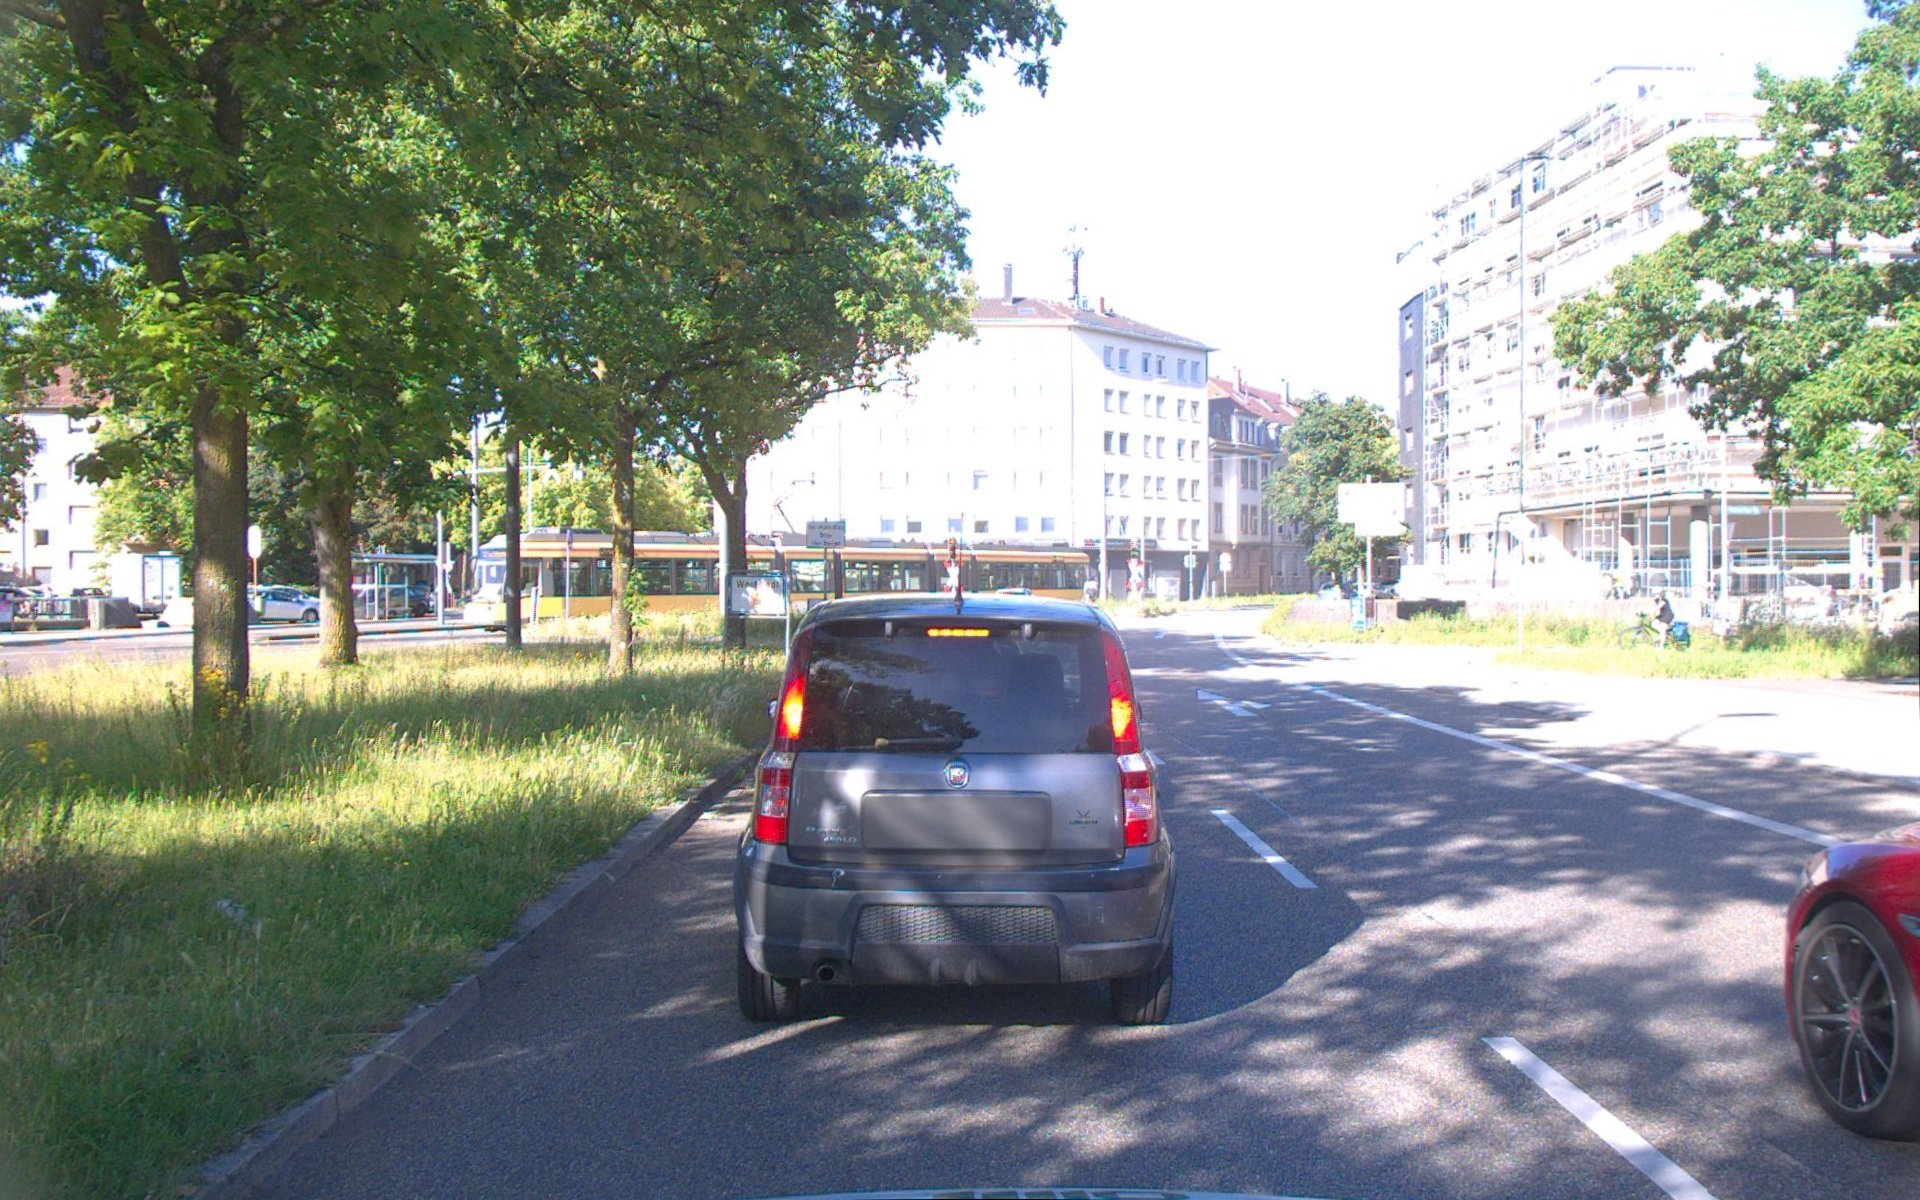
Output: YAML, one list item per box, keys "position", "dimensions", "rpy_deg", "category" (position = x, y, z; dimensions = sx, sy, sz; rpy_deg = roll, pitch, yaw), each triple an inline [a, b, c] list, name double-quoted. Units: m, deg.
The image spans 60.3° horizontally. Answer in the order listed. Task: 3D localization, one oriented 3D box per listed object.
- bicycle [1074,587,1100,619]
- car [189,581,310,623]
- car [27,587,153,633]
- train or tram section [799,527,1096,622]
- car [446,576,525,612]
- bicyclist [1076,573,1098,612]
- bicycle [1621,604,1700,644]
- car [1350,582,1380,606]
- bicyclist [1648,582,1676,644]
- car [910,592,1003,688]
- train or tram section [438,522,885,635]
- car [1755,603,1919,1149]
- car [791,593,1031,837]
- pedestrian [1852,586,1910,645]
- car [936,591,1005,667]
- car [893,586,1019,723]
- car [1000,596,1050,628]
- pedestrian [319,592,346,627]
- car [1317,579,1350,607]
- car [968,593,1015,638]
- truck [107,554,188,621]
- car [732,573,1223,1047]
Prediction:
- position: [4.905, 0.127, 63.944]
  dimensions: [0.694, 1.219, 2.519]
  rpy_deg: [1, 0, -2]
  category: "bicycle"
- position: [-29.952, 0.050, 69.778]
  dimensions: [1.961, 1.713, 4.302]
  rpy_deg: [0, 1, 38]
  category: "car"
- position: [-34.354, 0.365, 65.413]
  dimensions: [1.961, 1.713, 3.983]
  rpy_deg: [0, 1, 38]
  category: "car"
- position: [0.152, -1.150, 76.202]
  dimensions: [3.236, 3.836, 20.760]
  rpy_deg: [0, 1, 31]
  category: "train or tram section"
- position: [-27.966, -0.358, 97.548]
  dimensions: [4.093, 2.049, 1.930]
  rpy_deg: [0, 0, -3]
  category: "car"
- position: [4.901, -0.295, 63.791]
  dimensions: [0.726, 1.463, 0.845]
  rpy_deg: [1, 0, -3]
  category: "bicyclist"
- position: [17.485, 0.595, 41.337]
  dimensions: [1.751, 0.961, 0.560]
  rpy_deg: [0, 0, 14]
  category: "bicycle"
- position: [23.118, -0.339, 94.374]
  dimensions: [1.495, 1.337, 3.289]
  rpy_deg: [0, 1, 17]
  category: "car"
- position: [17.529, 0.324, 41.318]
  dimensions: [0.571, 1.519, 0.551]
  rpy_deg: [0, 0, 14]
  category: "bicyclist"
- position: [-0.079, 0.609, 27.273]
  dimensions: [1.434, 1.449, 3.381]
  rpy_deg: [0, 1, -1]
  category: "car"
- position: [-10.109, -0.788, 61.086]
  dimensions: [3.241, 3.574, 19.307]
  rpy_deg: [0, 1, 36]
  category: "train or tram section"
- position: [3.531, 0.768, 3.176]
  dimensions: [1.849, 1.453, 4.386]
  rpy_deg: [-1, 1, -1]
  category: "car"
- position: [-0.317, 0.682, 11.623]
  dimensions: [1.434, 1.425, 3.393]
  rpy_deg: [0, 1, -1]
  category: "car"
- position: [23.292, 0.390, 41.837]
  dimensions: [0.877, 1.472, 0.962]
  rpy_deg: [0, 0, -15]
  category: "pedestrian"
- position: [0.179, 0.556, 33.855]
  dimensions: [1.328, 1.475, 3.265]
  rpy_deg: [0, 0, -1]
  category: "car"
- position: [-0.070, 0.604, 20.667]
  dimensions: [1.434, 1.534, 3.504]
  rpy_deg: [0, 1, -1]
  category: "car"
- position: [2.287, 0.402, 57.697]
  dimensions: [1.118, 1.083, 2.723]
  rpy_deg: [0, 1, 17]
  category: "car"
- position: [-29.317, 0.438, 77.273]
  dimensions: [0.904, 1.636, 0.794]
  rpy_deg: [0, 0, 38]
  category: "pedestrian"
- position: [20.508, -0.394, 90.707]
  dimensions: [1.646, 1.475, 3.574]
  rpy_deg: [0, 1, 15]
  category: "car"
- position: [0.920, 0.443, 49.601]
  dimensions: [1.328, 1.304, 2.875]
  rpy_deg: [0, 1, -1]
  category: "car"
- position: [-35.741, -0.550, 72.685]
  dimensions: [3.932, 2.854, 1.987]
  rpy_deg: [0, 1, 44]
  category: "truck"
- position: [0.033, 0.661, 7.407]
  dimensions: [1.595, 1.534, 3.999]
  rpy_deg: [0, 1, -1]
  category: "car"
